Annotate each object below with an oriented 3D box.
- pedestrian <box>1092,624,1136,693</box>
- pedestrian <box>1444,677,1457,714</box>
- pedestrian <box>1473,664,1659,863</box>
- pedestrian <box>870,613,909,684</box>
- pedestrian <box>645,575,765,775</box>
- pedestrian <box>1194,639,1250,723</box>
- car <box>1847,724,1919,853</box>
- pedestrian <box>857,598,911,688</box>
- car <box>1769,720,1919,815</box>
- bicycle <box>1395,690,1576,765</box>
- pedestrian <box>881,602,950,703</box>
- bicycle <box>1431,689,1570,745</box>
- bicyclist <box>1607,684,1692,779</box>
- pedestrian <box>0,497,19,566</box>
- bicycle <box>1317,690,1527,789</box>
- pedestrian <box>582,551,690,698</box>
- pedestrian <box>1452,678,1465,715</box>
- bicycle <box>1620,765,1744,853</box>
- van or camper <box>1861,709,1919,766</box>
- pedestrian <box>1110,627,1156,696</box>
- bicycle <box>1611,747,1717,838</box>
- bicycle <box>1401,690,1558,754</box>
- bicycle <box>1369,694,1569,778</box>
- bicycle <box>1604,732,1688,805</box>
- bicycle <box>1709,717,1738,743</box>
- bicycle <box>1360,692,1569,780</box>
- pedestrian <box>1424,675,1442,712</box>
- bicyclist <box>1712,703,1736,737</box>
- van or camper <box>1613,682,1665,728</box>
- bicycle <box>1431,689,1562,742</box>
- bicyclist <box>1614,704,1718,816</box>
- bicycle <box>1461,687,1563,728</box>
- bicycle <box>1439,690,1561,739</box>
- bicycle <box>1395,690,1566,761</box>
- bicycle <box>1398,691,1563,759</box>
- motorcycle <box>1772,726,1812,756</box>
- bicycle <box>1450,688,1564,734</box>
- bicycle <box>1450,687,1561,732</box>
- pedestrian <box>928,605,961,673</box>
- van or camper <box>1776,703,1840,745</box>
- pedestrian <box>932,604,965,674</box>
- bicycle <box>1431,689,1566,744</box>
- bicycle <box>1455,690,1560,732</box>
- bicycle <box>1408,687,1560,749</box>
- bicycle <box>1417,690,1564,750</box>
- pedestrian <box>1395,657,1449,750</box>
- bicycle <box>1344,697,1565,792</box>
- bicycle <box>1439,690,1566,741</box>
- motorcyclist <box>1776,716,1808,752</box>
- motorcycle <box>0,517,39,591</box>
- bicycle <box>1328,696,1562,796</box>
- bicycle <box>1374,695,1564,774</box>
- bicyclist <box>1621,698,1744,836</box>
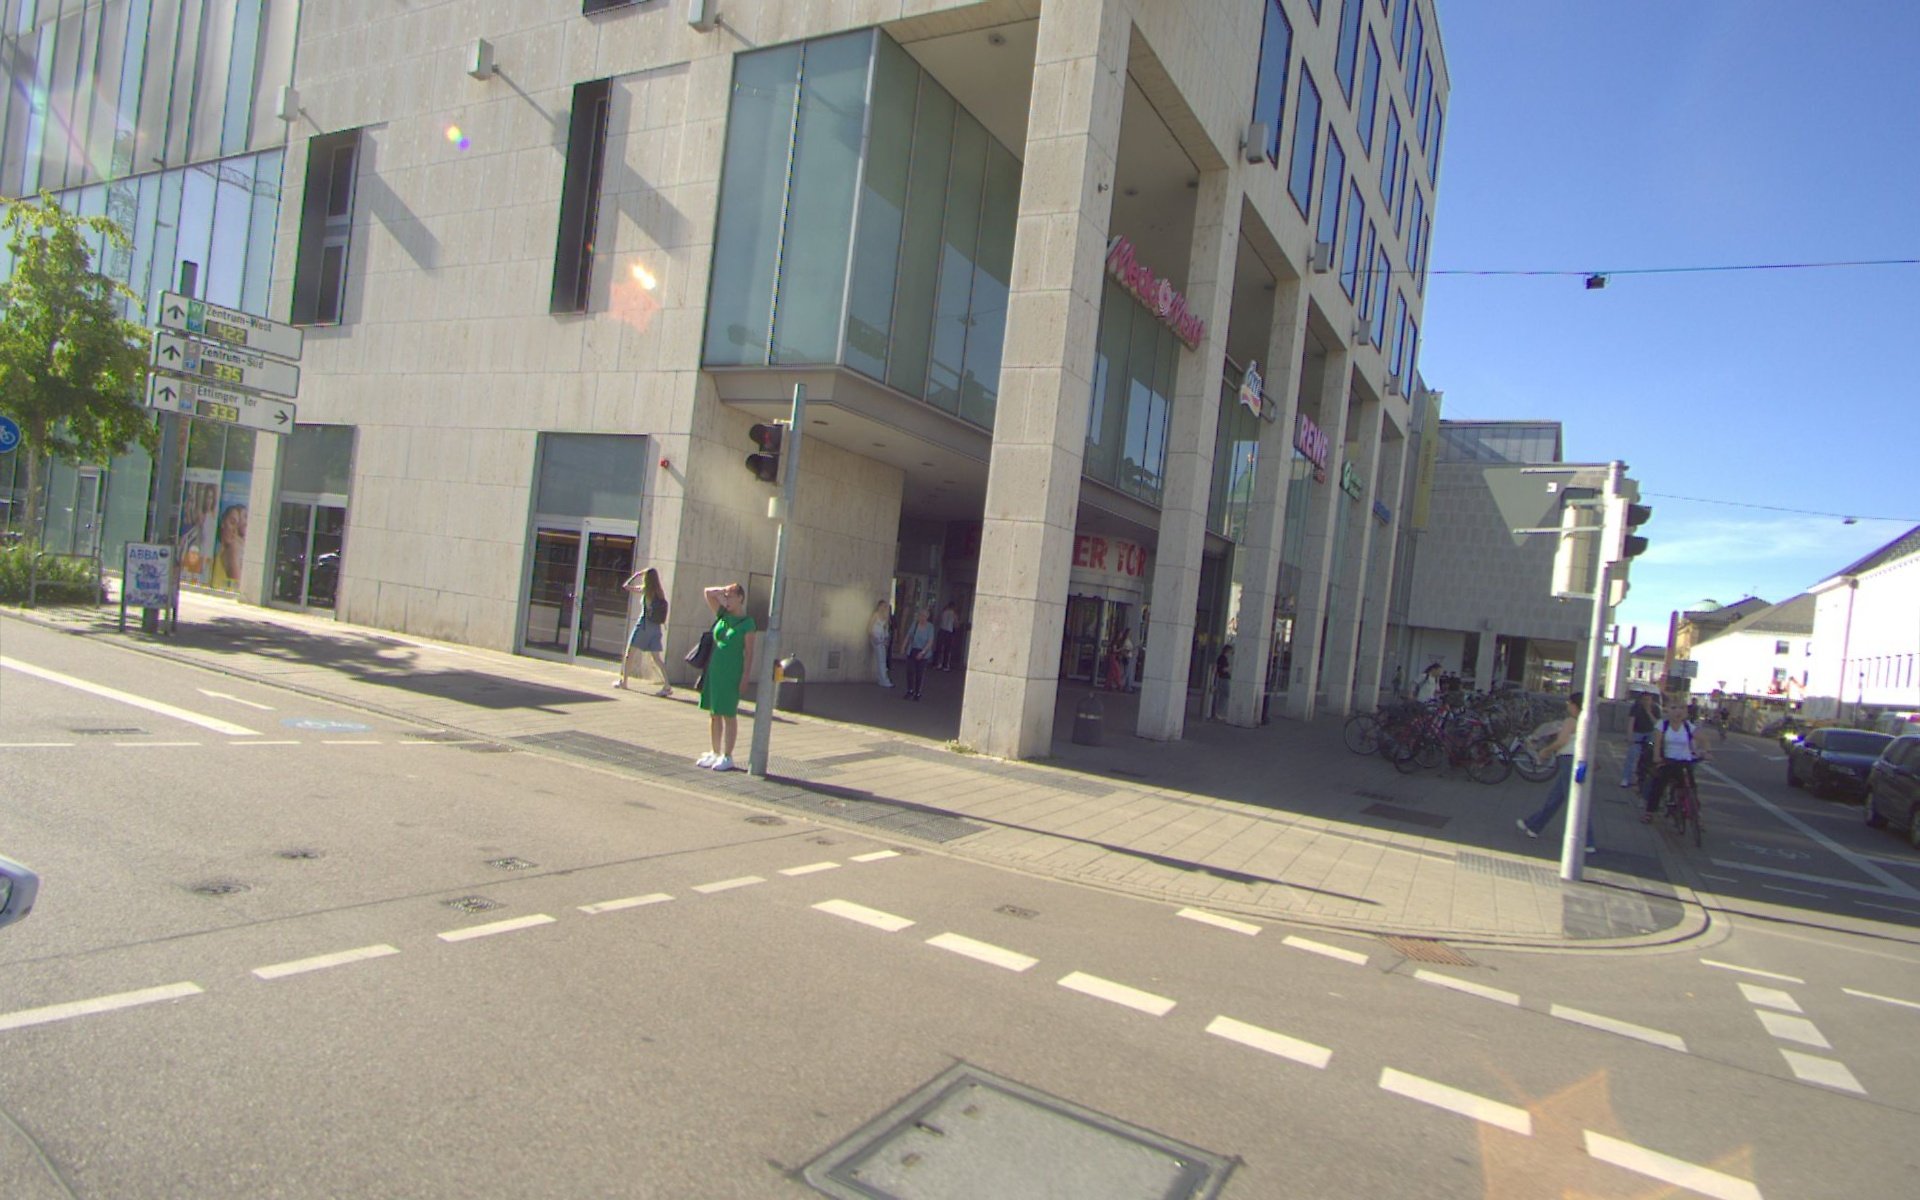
[{"bbox_3d":[4.059,1.546,26.548,0.671,1.704,0.731,7,0,-28],"label":"pedestrian"},{"bbox_3d":[22.978,4.479,47.140,0.290,1.704,0.337,7,0,37],"label":"pedestrian"},{"bbox_3d":[6.540,1.710,10.962,1.496,1.825,0.968,6,2,28],"label":"pedestrian"},{"bbox_3d":[-1.739,1.184,24.694,0.737,1.628,0.556,7,1,-8],"label":"pedestrian"},{"bbox_3d":[-2.362,0.671,9.352,0.685,1.725,0.658,7,2,26],"label":"pedestrian"},{"bbox_3d":[5.774,1.771,22.155,0.845,1.704,0.979,7,0,26],"label":"pedestrian"},{"bbox_3d":[14.679,2.790,14.597,1.830,1.631,4.192,5,-2,30],"label":"car"},{"bbox_3d":[-1.450,0.828,19.239,0.547,1.628,0.749,7,1,27],"label":"pedestrian"},{"bbox_3d":[18.619,3.425,21.081,1.830,1.437,4.612,5,-2,30],"label":"car"},{"bbox_3d":[11.780,2.826,22.660,3.439,1.107,1.068,6,-1,31],"label":"bicycle"},{"bbox_3d":[-0.772,0.910,17.404,0.737,1.628,0.724,7,1,29],"label":"pedestrian"},{"bbox_3d":[15.709,3.376,29.312,3.439,1.107,1.068,6,-1,31],"label":"bicycle"},{"bbox_3d":[11.867,2.243,17.351,1.023,1.451,0.934,6,0,32],"label":"bicyclist"},{"bbox_3d":[-23.952,-1.731,24.818,0.884,1.680,0.707,6,2,24],"label":"pedestrian"},{"bbox_3d":[7.519,2.223,16.437,2.941,1.107,1.068,6,-1,30],"label":"bicycle"},{"bbox_3d":[-4.350,0.318,13.513,1.048,1.825,0.729,6,2,28],"label":"pedestrian"},{"bbox_3d":[23.269,4.506,46.973,0.290,1.704,0.337,7,0,37],"label":"pedestrian"},{"bbox_3d":[8.993,2.573,12.638,1.054,0.679,2.196,6,-1,32],"label":"bicycle"},{"bbox_3d":[48.255,7.011,51.074,2.285,2.544,6.416,6,-1,31],"label":"van or camper"},{"bbox_3d":[4.592,1.633,26.703,0.680,1.704,0.784,7,0,-28],"label":"pedestrian"},{"bbox_3d":[10.283,2.774,14.786,1.054,0.955,2.196,6,-1,32],"label":"bicycle"},{"bbox_3d":[13.296,3.089,25.832,3.439,1.107,1.068,6,-1,31],"label":"bicycle"},{"bbox_3d":[10.254,2.696,20.377,3.439,1.107,1.068,6,-1,31],"label":"bicycle"},{"bbox_3d":[11.813,2.874,17.401,1.013,0.943,2.196,6,-1,32],"label":"bicycle"},{"bbox_3d":[40.989,6.961,54.039,0.782,1.228,2.959,6,-2,31],"label":"bicycle"},{"bbox_3d":[9.658,2.569,19.381,3.438,1.107,1.068,6,-1,30],"label":"bicycle"},{"bbox_3d":[22.693,4.498,48.288,0.563,1.704,0.536,7,0,21],"label":"pedestrian"},{"bbox_3d":[41.068,6.451,54.074,0.782,1.690,0.954,6,-1,31],"label":"bicyclist"},{"bbox_3d":[44.076,6.780,65.425,2.141,2.544,6.417,6,-1,30],"label":"van or camper"},{"bbox_3d":[16.697,3.564,31.380,3.439,1.107,1.068,6,-1,31],"label":"bicycle"},{"bbox_3d":[10.321,2.304,14.747,1.059,1.413,0.934,6,0,32],"label":"bicyclist"},{"bbox_3d":[22.043,4.285,40.203,3.439,1.107,1.068,6,-1,31],"label":"bicycle"},{"bbox_3d":[17.883,3.772,33.393,3.439,1.107,1.068,6,-1,31],"label":"bicycle"},{"bbox_3d":[12.237,2.914,23.738,3.439,1.107,1.068,6,-1,31],"label":"bicycle"},{"bbox_3d":[12.769,3.032,24.769,3.439,1.107,1.068,6,-1,31],"label":"bicycle"},{"bbox_3d":[36.083,6.100,43.677,0.782,1.111,2.959,6,-2,31],"label":"motorcycle"},{"bbox_3d":[19.408,3.900,35.746,3.439,1.107,1.068,6,-1,31],"label":"bicycle"},{"bbox_3d":[19.940,3.983,36.859,3.439,1.107,1.068,6,-1,31],"label":"bicycle"},{"bbox_3d":[-0.434,1.057,27.648,0.639,1.784,0.556,7,1,-8],"label":"pedestrian"},{"bbox_3d":[61.490,8.912,73.066,2.285,2.544,6.416,6,-1,31],"label":"van or camper"},{"bbox_3d":[-0.313,1.035,26.964,0.639,1.784,0.556,7,1,-8],"label":"pedestrian"},{"bbox_3d":[16.201,3.489,30.346,3.439,1.107,1.068,6,-1,31],"label":"bicycle"},{"bbox_3d":[21.117,4.260,38.874,3.439,1.107,1.068,6,-1,31],"label":"bicycle"},{"bbox_3d":[13.942,3.104,26.830,3.439,1.107,1.068,6,-1,31],"label":"bicycle"},{"bbox_3d":[14.606,3.269,27.782,3.439,1.107,1.068,6,-1,31],"label":"bicycle"},{"bbox_3d":[10.221,2.273,22.292,0.726,1.931,0.637,6,0,6],"label":"pedestrian"},{"bbox_3d":[8.934,2.567,18.306,3.438,1.107,1.068,6,-1,30],"label":"bicycle"},{"bbox_3d":[17.393,3.690,32.334,3.439,1.107,1.068,6,-1,31],"label":"bicycle"},{"bbox_3d":[36.126,5.798,43.683,0.782,1.399,1.081,6,-1,31],"label":"motorcyclist"},{"bbox_3d":[-18.636,-0.939,18.566,0.888,1.340,2.191,6,0,32],"label":"motorcycle"},{"bbox_3d":[8.293,2.445,17.331,3.438,1.107,1.068,6,-1,30],"label":"bicycle"},{"bbox_3d":[10.777,2.803,21.388,3.439,1.107,1.068,6,-1,31],"label":"bicycle"},{"bbox_3d":[9.062,2.053,12.674,1.054,1.494,1.023,6,0,32],"label":"bicyclist"}]
